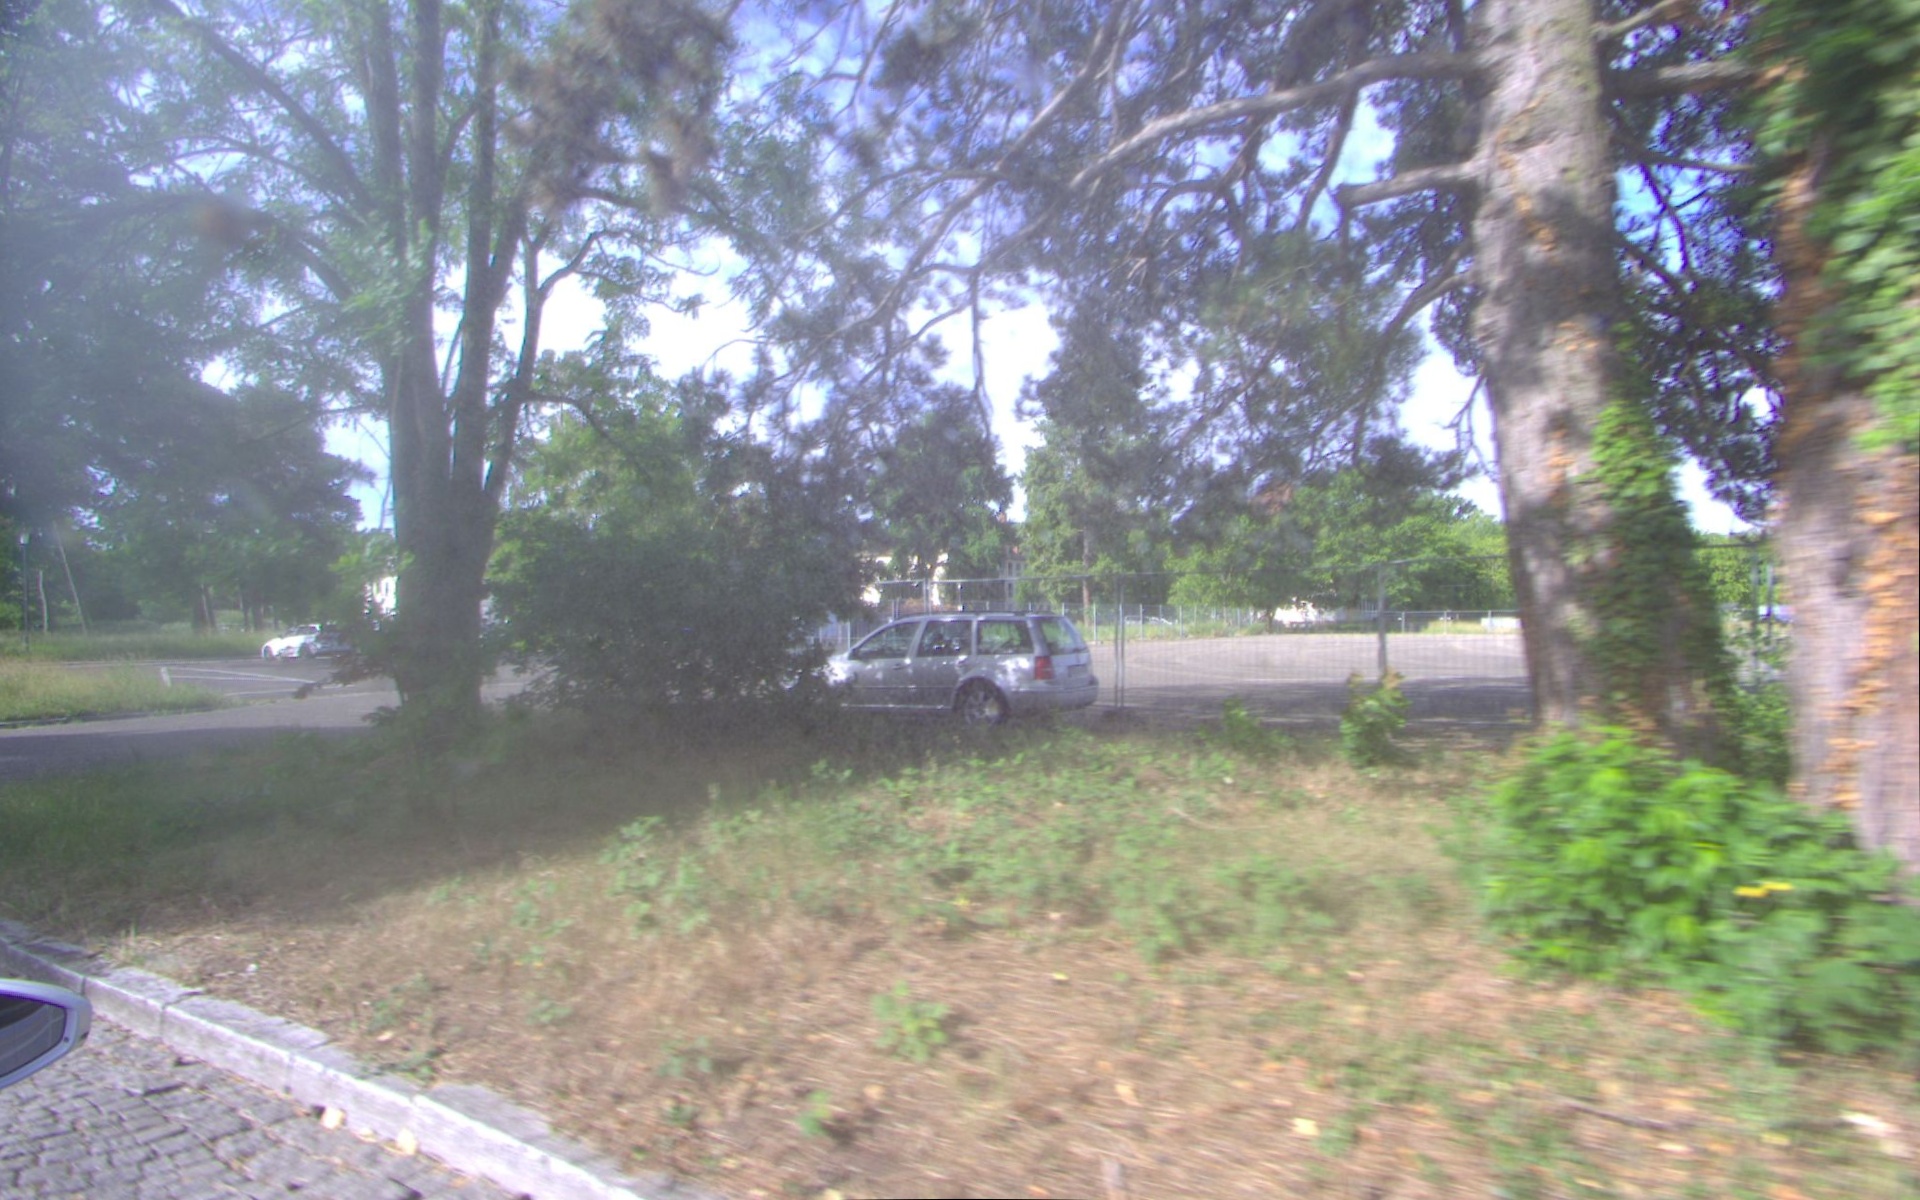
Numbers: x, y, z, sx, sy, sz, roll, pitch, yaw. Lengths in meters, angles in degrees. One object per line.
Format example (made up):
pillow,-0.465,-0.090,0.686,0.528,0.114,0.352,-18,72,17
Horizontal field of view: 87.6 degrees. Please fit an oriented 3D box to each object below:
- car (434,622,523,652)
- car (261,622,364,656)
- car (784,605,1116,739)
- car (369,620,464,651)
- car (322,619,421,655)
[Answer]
car,-23.150,1.759,48.118,4.265,1.329,1.729,-1,0,28
car,-26.480,1.565,40.921,4.265,1.329,1.729,-1,-1,28
car,-0.165,0.842,12.791,3.938,1.487,1.666,-1,-1,28
car,-24.613,1.592,45.303,4.265,1.329,1.729,-1,-1,28
car,-25.433,1.576,43.236,4.265,1.496,1.730,-1,-1,28
